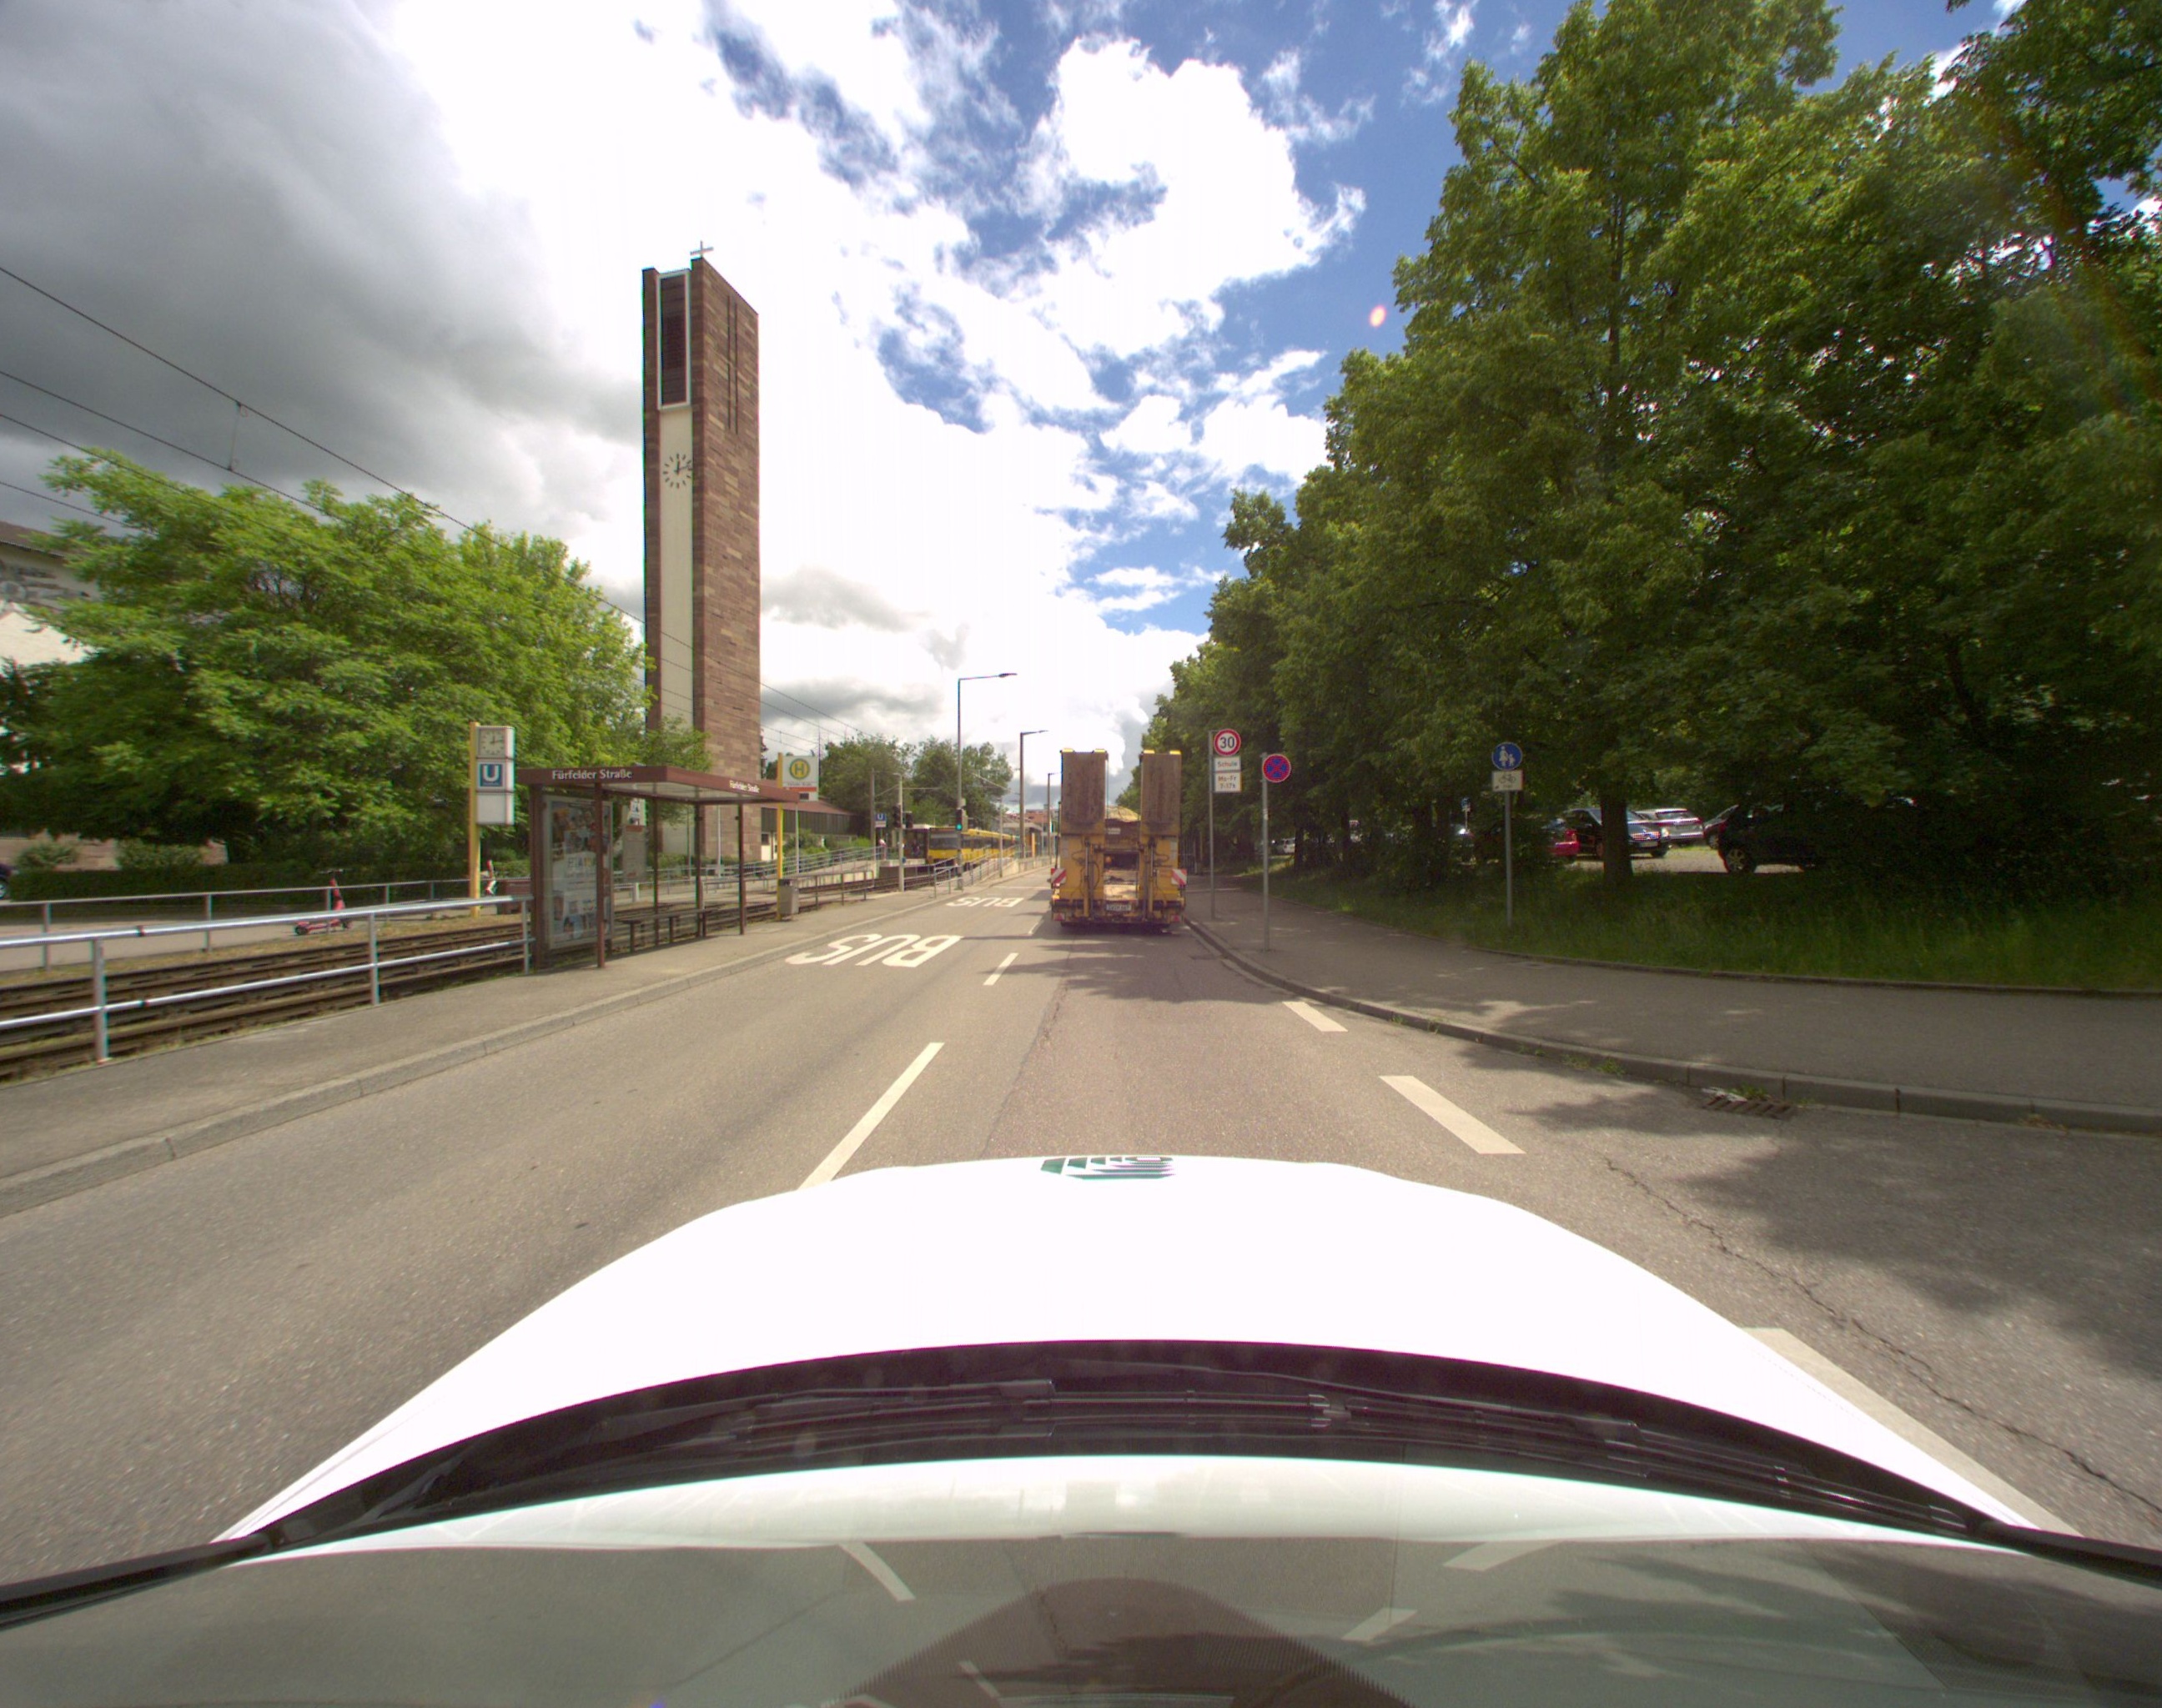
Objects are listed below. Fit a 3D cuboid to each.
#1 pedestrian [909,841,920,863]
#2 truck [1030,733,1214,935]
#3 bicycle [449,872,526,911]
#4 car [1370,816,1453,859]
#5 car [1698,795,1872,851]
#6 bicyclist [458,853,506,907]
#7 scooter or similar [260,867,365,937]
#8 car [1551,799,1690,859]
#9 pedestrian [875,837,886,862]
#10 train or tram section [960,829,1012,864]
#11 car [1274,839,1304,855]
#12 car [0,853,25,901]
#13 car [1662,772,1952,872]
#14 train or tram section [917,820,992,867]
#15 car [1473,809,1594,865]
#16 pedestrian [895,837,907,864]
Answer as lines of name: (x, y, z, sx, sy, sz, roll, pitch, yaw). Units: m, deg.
pedestrian: (-12.978, -0.165, 63.585, 0.637, 1.707, 0.646, 1, -1, 1)
truck: (0.641, -0.358, 21.956, 3.392, 3.732, 13.731, 0, 0, -1)
bicycle: (-16.145, 1.000, 22.209, 0.635, 0.994, 1.929, 1, 0, 1)
car: (13.141, -0.598, 32.616, 1.621, 1.514, 4.139, -4, 0, 1)
car: (20.821, -0.861, 24.310, 1.749, 1.442, 3.858, -3, 0, -1)
bicyclist: (-16.127, 0.688, 21.941, 0.631, 1.429, 0.790, 1, 0, 1)
scooter or similar: (-14.719, 0.886, 15.644, 0.647, 1.237, 1.402, 1, 1, 2)
car: (16.057, -0.685, 24.485, 1.746, 1.582, 3.663, -3, 0, 1)
pedestrian: (-14.250, -0.330, 57.922, 0.582, 1.778, 0.576, 1, -1, 1)
train or tram section: (-10.153, -0.712, 89.807, 3.097, 3.465, 19.000, 1, 0, 1)
car: (19.404, -0.647, 76.219, 1.834, 1.420, 4.125, -3, 0, 2)
car: (-36.927, 0.725, 25.345, 1.977, 1.574, 4.498, 1, 0, 19)
car: (12.966, -0.475, 14.917, 1.818, 1.512, 3.811, -1, -2, -1)
train or tram section: (-10.558, -0.782, 70.874, 3.097, 3.465, 18.829, 1, 0, 1)
car: (13.625, -0.481, 24.763, 1.655, 1.500, 3.663, -3, 0, 1)
pedestrian: (-13.775, -0.262, 62.400, 0.710, 2.014, 0.731, 1, -1, -1)
